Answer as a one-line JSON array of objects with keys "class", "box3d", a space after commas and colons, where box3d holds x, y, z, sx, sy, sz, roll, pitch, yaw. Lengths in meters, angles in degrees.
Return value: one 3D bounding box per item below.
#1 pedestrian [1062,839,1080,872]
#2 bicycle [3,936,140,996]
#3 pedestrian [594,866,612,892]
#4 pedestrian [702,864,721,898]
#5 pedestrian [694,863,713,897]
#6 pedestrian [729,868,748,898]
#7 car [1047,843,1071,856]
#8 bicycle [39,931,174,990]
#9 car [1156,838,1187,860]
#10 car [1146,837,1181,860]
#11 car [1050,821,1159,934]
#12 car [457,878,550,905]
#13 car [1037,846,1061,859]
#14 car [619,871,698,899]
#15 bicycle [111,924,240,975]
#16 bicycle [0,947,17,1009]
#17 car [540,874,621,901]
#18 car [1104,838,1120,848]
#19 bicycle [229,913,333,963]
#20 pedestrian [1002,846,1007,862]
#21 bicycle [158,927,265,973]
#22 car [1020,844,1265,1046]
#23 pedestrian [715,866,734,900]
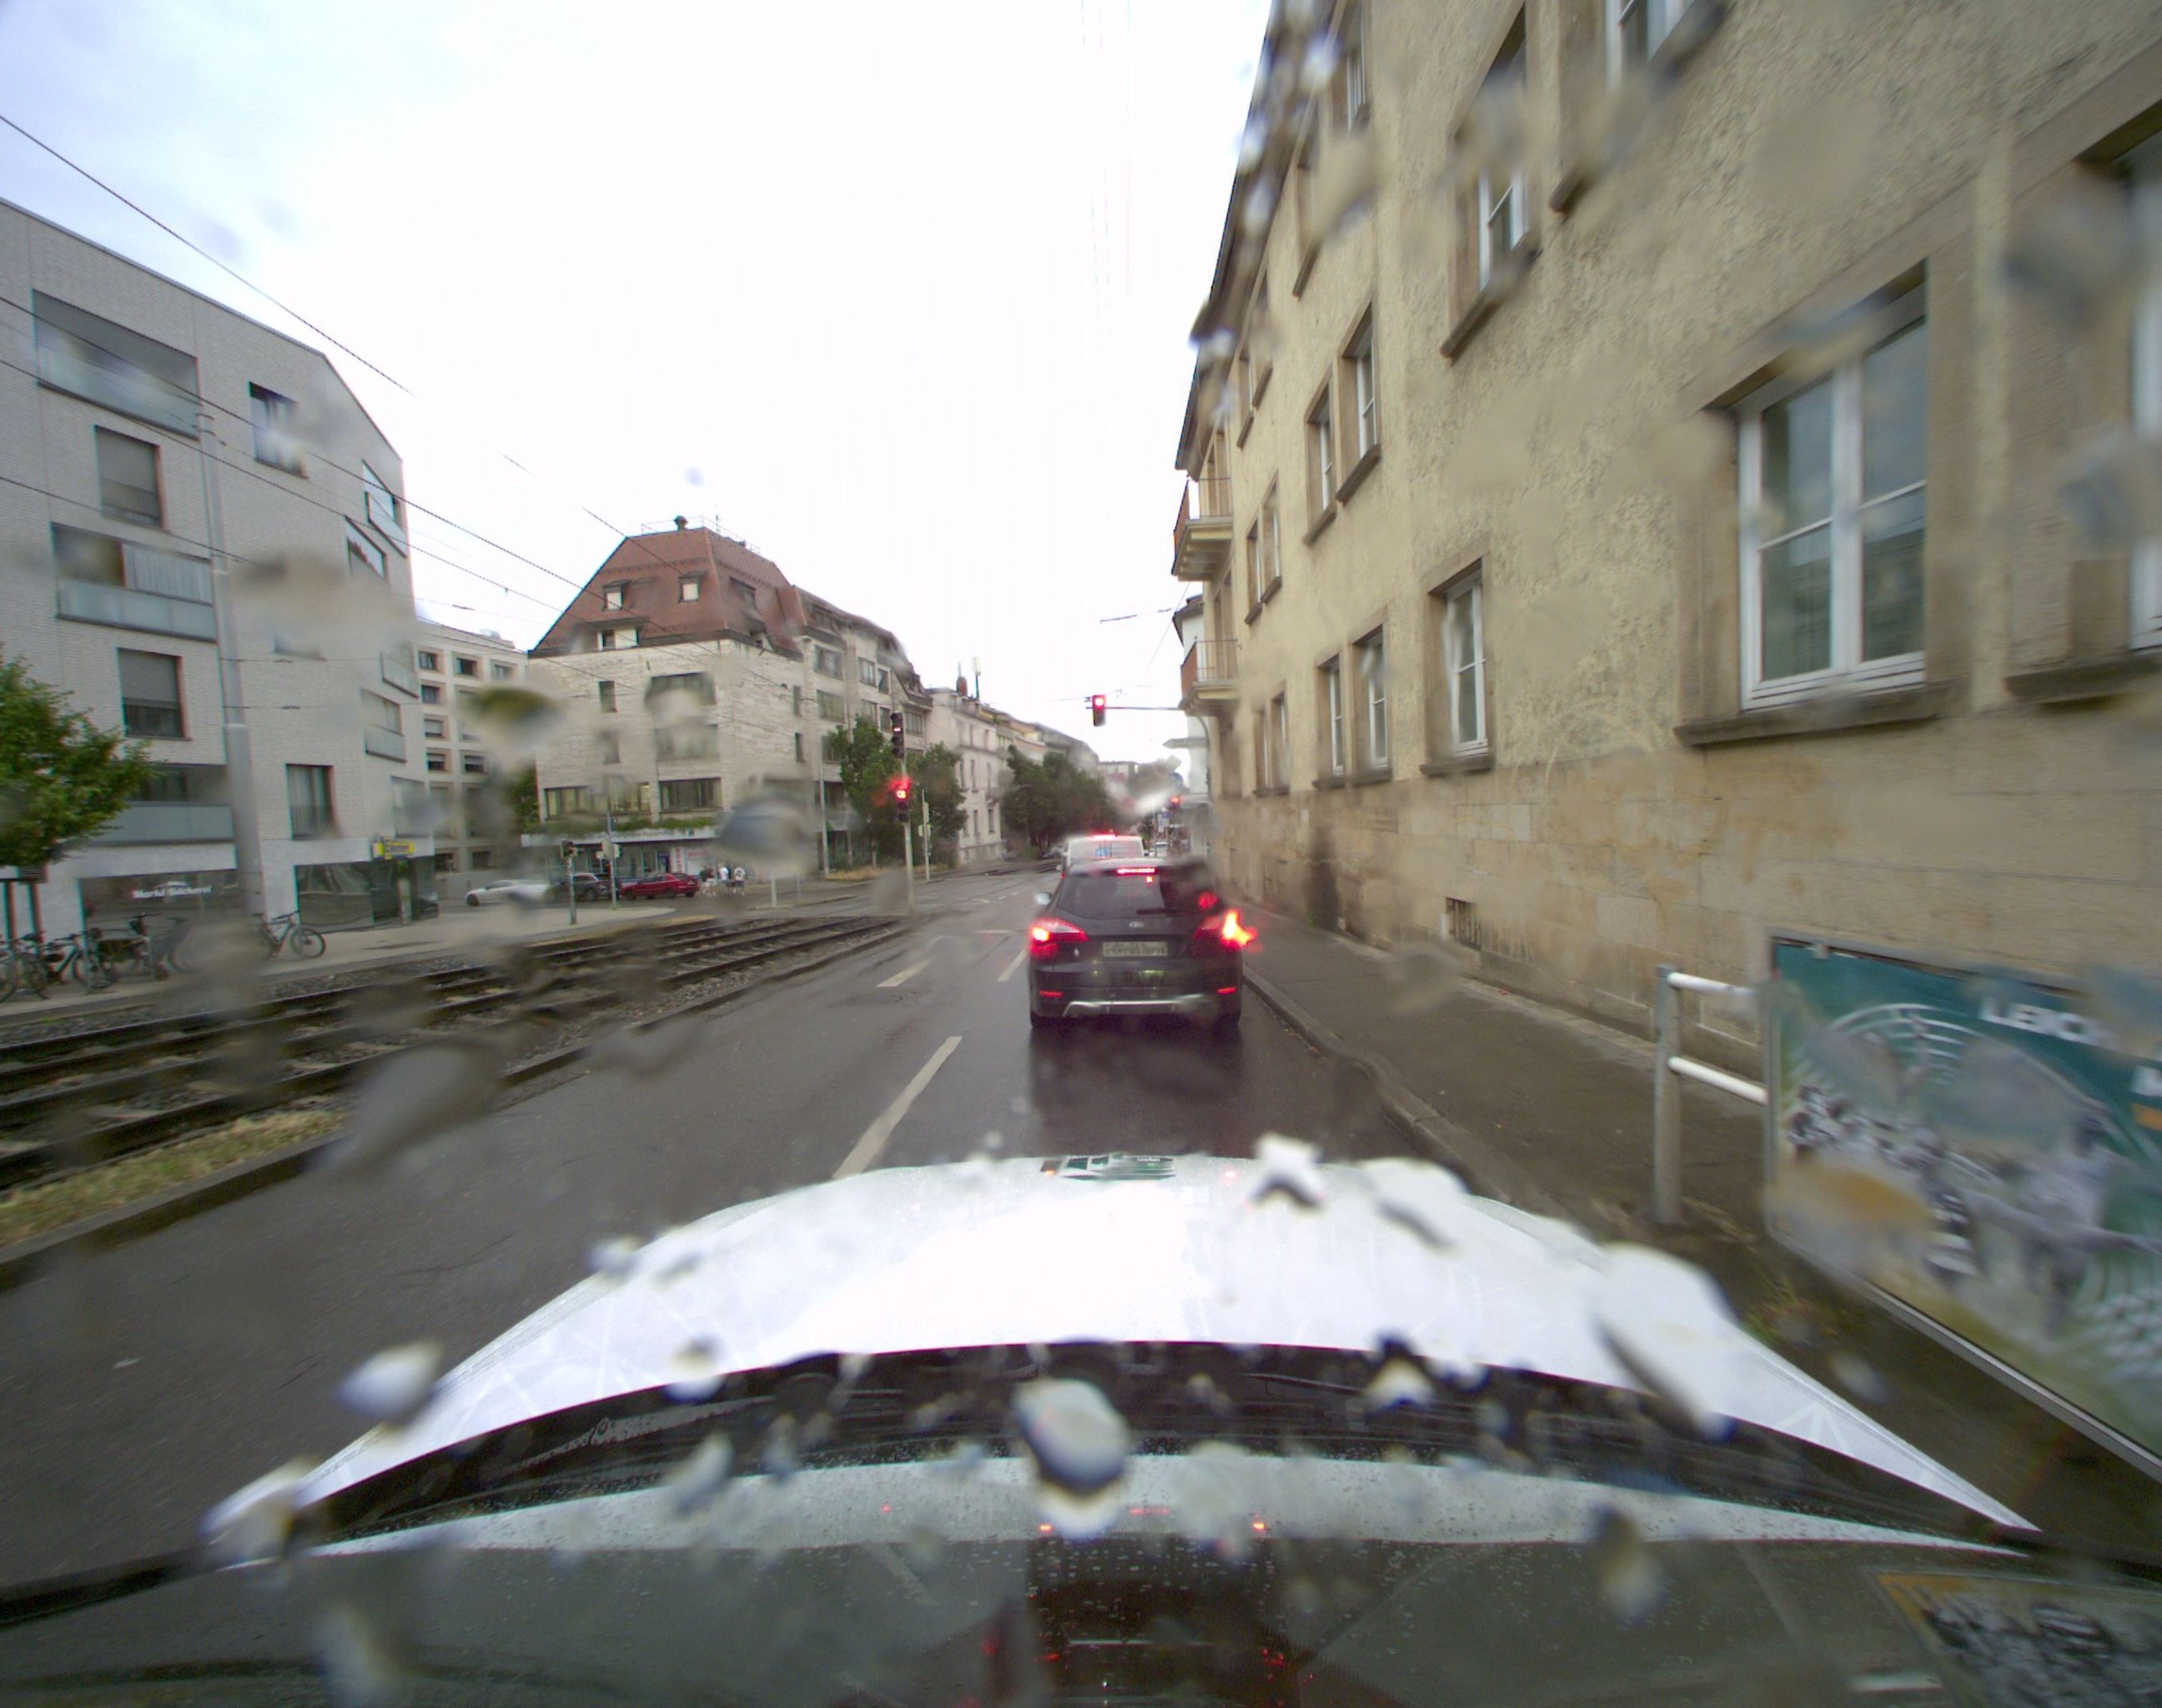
[{"class": "pedestrian", "box3d": [-0.550, 0.074, 46.111, 0.926, 1.830, 0.960, 0, -1, 4]}, {"class": "bicycle", "box3d": [-17.617, 1.940, 14.222, 1.779, 0.917, 0.387, -2, 0, -3]}, {"class": "pedestrian", "box3d": [-28.814, 1.515, 49.087, 0.677, 1.549, 0.651, 0, -1, 10]}, {"class": "pedestrian", "box3d": [-19.541, 1.415, 43.056, 0.643, 1.749, 0.686, 0, -1, 10]}, {"class": "pedestrian", "box3d": [-20.533, 1.409, 44.273, 0.643, 1.842, 0.686, 0, -1, 10]}, {"class": "pedestrian", "box3d": [-17.889, 1.490, 42.525, 0.643, 1.549, 0.686, 0, -1, 10]}, {"class": "car", "box3d": [-2.688, -0.570, 100.881, 1.843, 1.548, 4.737, -2, 0, 12]}, {"class": "bicycle", "box3d": [-17.993, 1.955, 15.062, 1.782, 0.917, 0.386, -3, 0, -7]}, {"class": "car", "box3d": [7.086, -0.388, 63.348, 1.833, 1.632, 4.602, -2, 0, 12]}, {"class": "car", "box3d": [5.798, -0.382, 56.920, 1.789, 1.455, 4.602, -4, 0, 12]}, {"class": "car", "box3d": [0.479, 0.445, 17.465, 1.981, 2.060, 4.645, -1, 0, 1]}, {"class": "car", "box3d": [-32.603, 2.135, 46.002, 4.458, 1.318, 1.599, -2, -1, 11]}, {"class": "car", "box3d": [-3.676, -0.138, 94.818, 1.682, 1.377, 4.736, -2, -1, 12]}, {"class": "car", "box3d": [-22.890, 1.669, 44.179, 3.665, 1.318, 1.601, -2, -1, 16]}, {"class": "bicycle", "box3d": [-18.102, 1.899, 16.312, 1.787, 0.918, 0.385, -1, 0, -16]}, {"class": "bicycle", "box3d": [-17.144, 1.896, 12.195, 1.779, 0.918, 0.387, -1, 0, -3]}, {"class": "car", "box3d": [-27.674, 1.841, 45.061, 3.670, 1.318, 1.599, -2, -1, 11]}, {"class": "car", "box3d": [5.381, -1.818, 140.510, 1.843, 1.637, 4.952, -2, 0, 12]}, {"class": "bicycle", "box3d": [-17.865, 1.880, 18.211, 1.779, 0.980, 0.440, -3, 0, -3]}, {"class": "pedestrian", "box3d": [-7.865, 0.022, 83.518, 0.466, 1.652, 0.582, 0, -1, 0]}, {"class": "bicycle", "box3d": [-18.128, 1.991, 16.992, 1.778, 0.876, 0.387, -1, -1, -1]}, {"class": "car", "box3d": [0.524, 0.698, 8.164, 1.836, 1.507, 4.001, -1, 0, 2]}, {"class": "pedestrian", "box3d": [-18.726, 1.515, 42.797, 0.643, 1.724, 0.686, 0, -1, 10]}]
